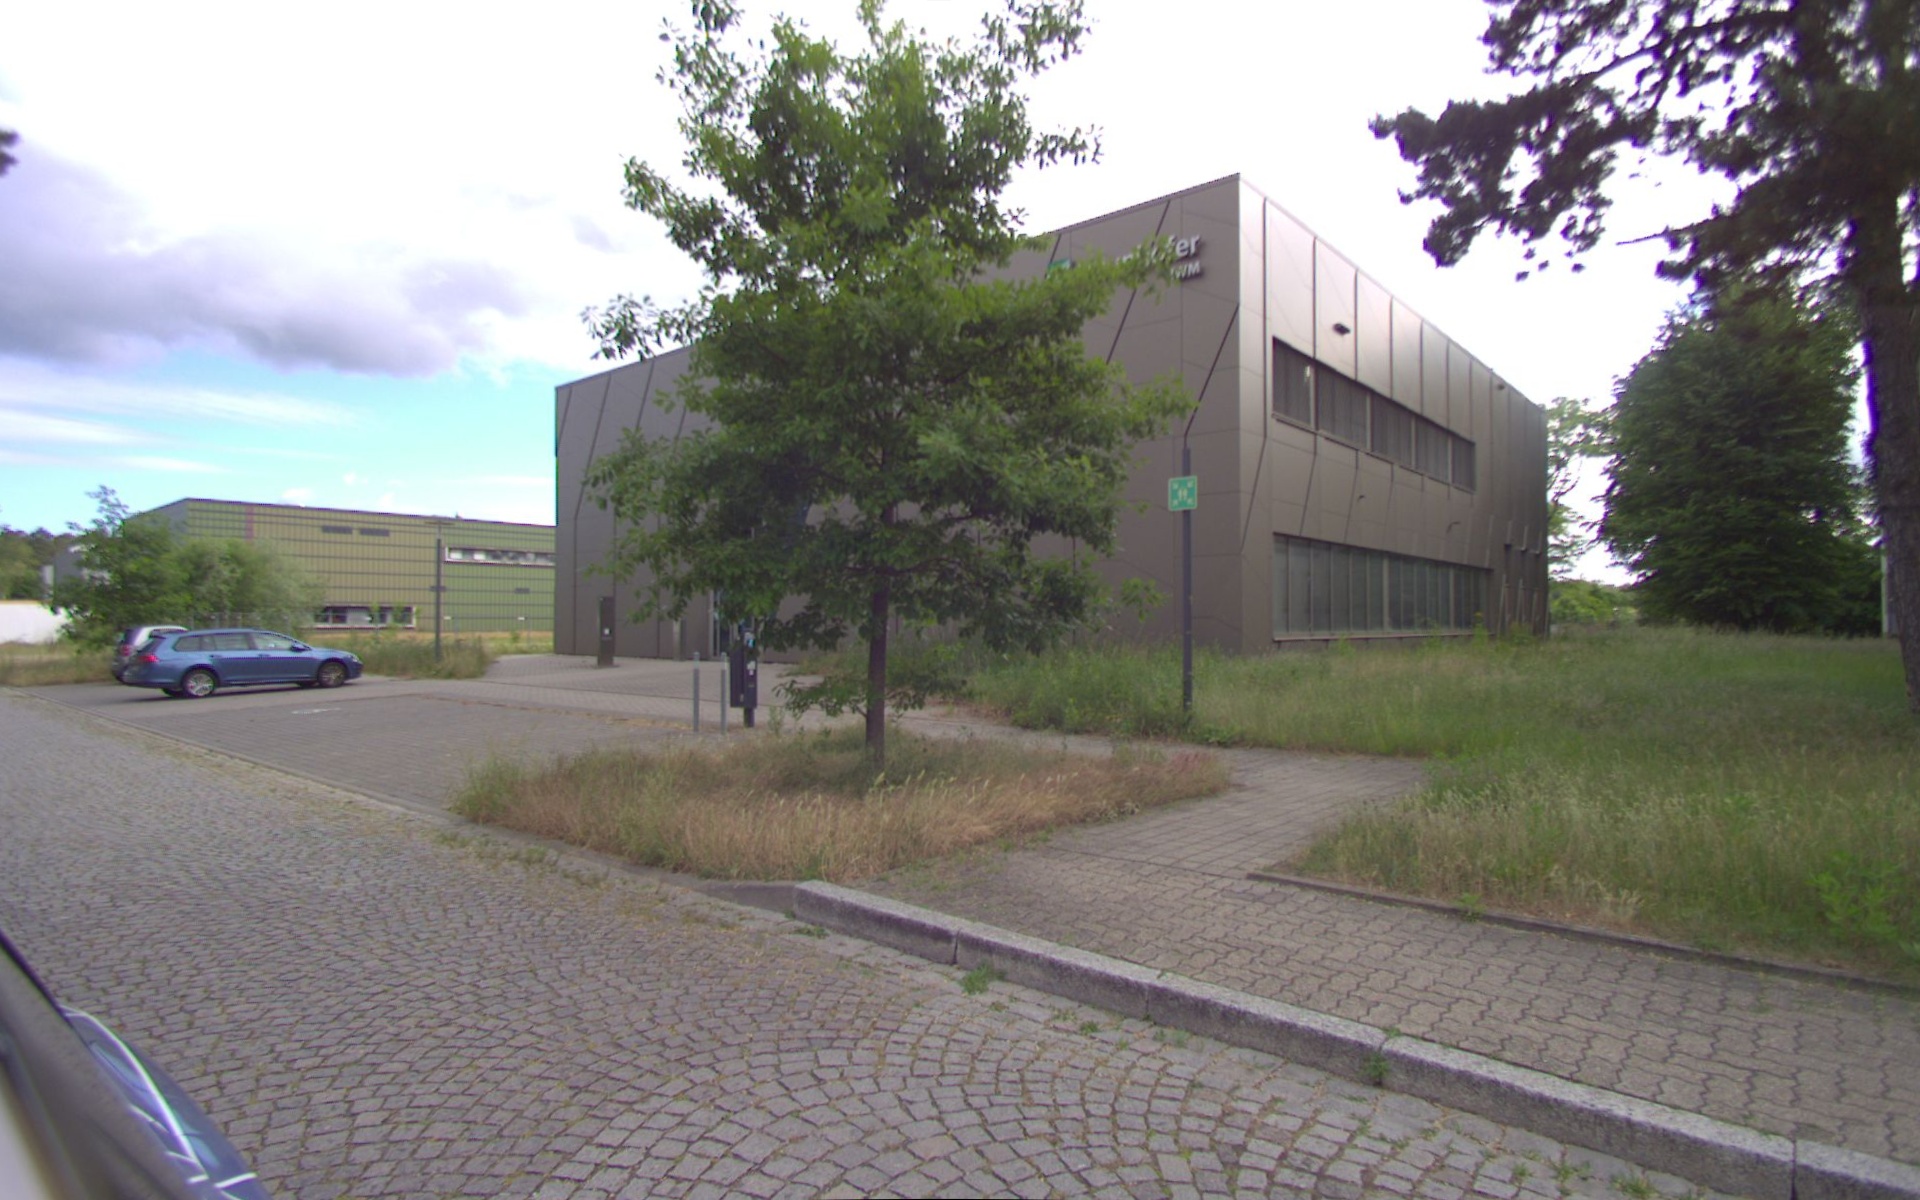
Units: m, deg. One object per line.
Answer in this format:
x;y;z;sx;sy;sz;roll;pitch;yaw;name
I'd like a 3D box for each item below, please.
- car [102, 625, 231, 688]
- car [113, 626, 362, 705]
-21.949;1.521;28.036;1.499;1.541;2.552;-1;0;39;car
-16.408;1.413;23.184;1.631;1.480;4.372;-1;0;38;car
